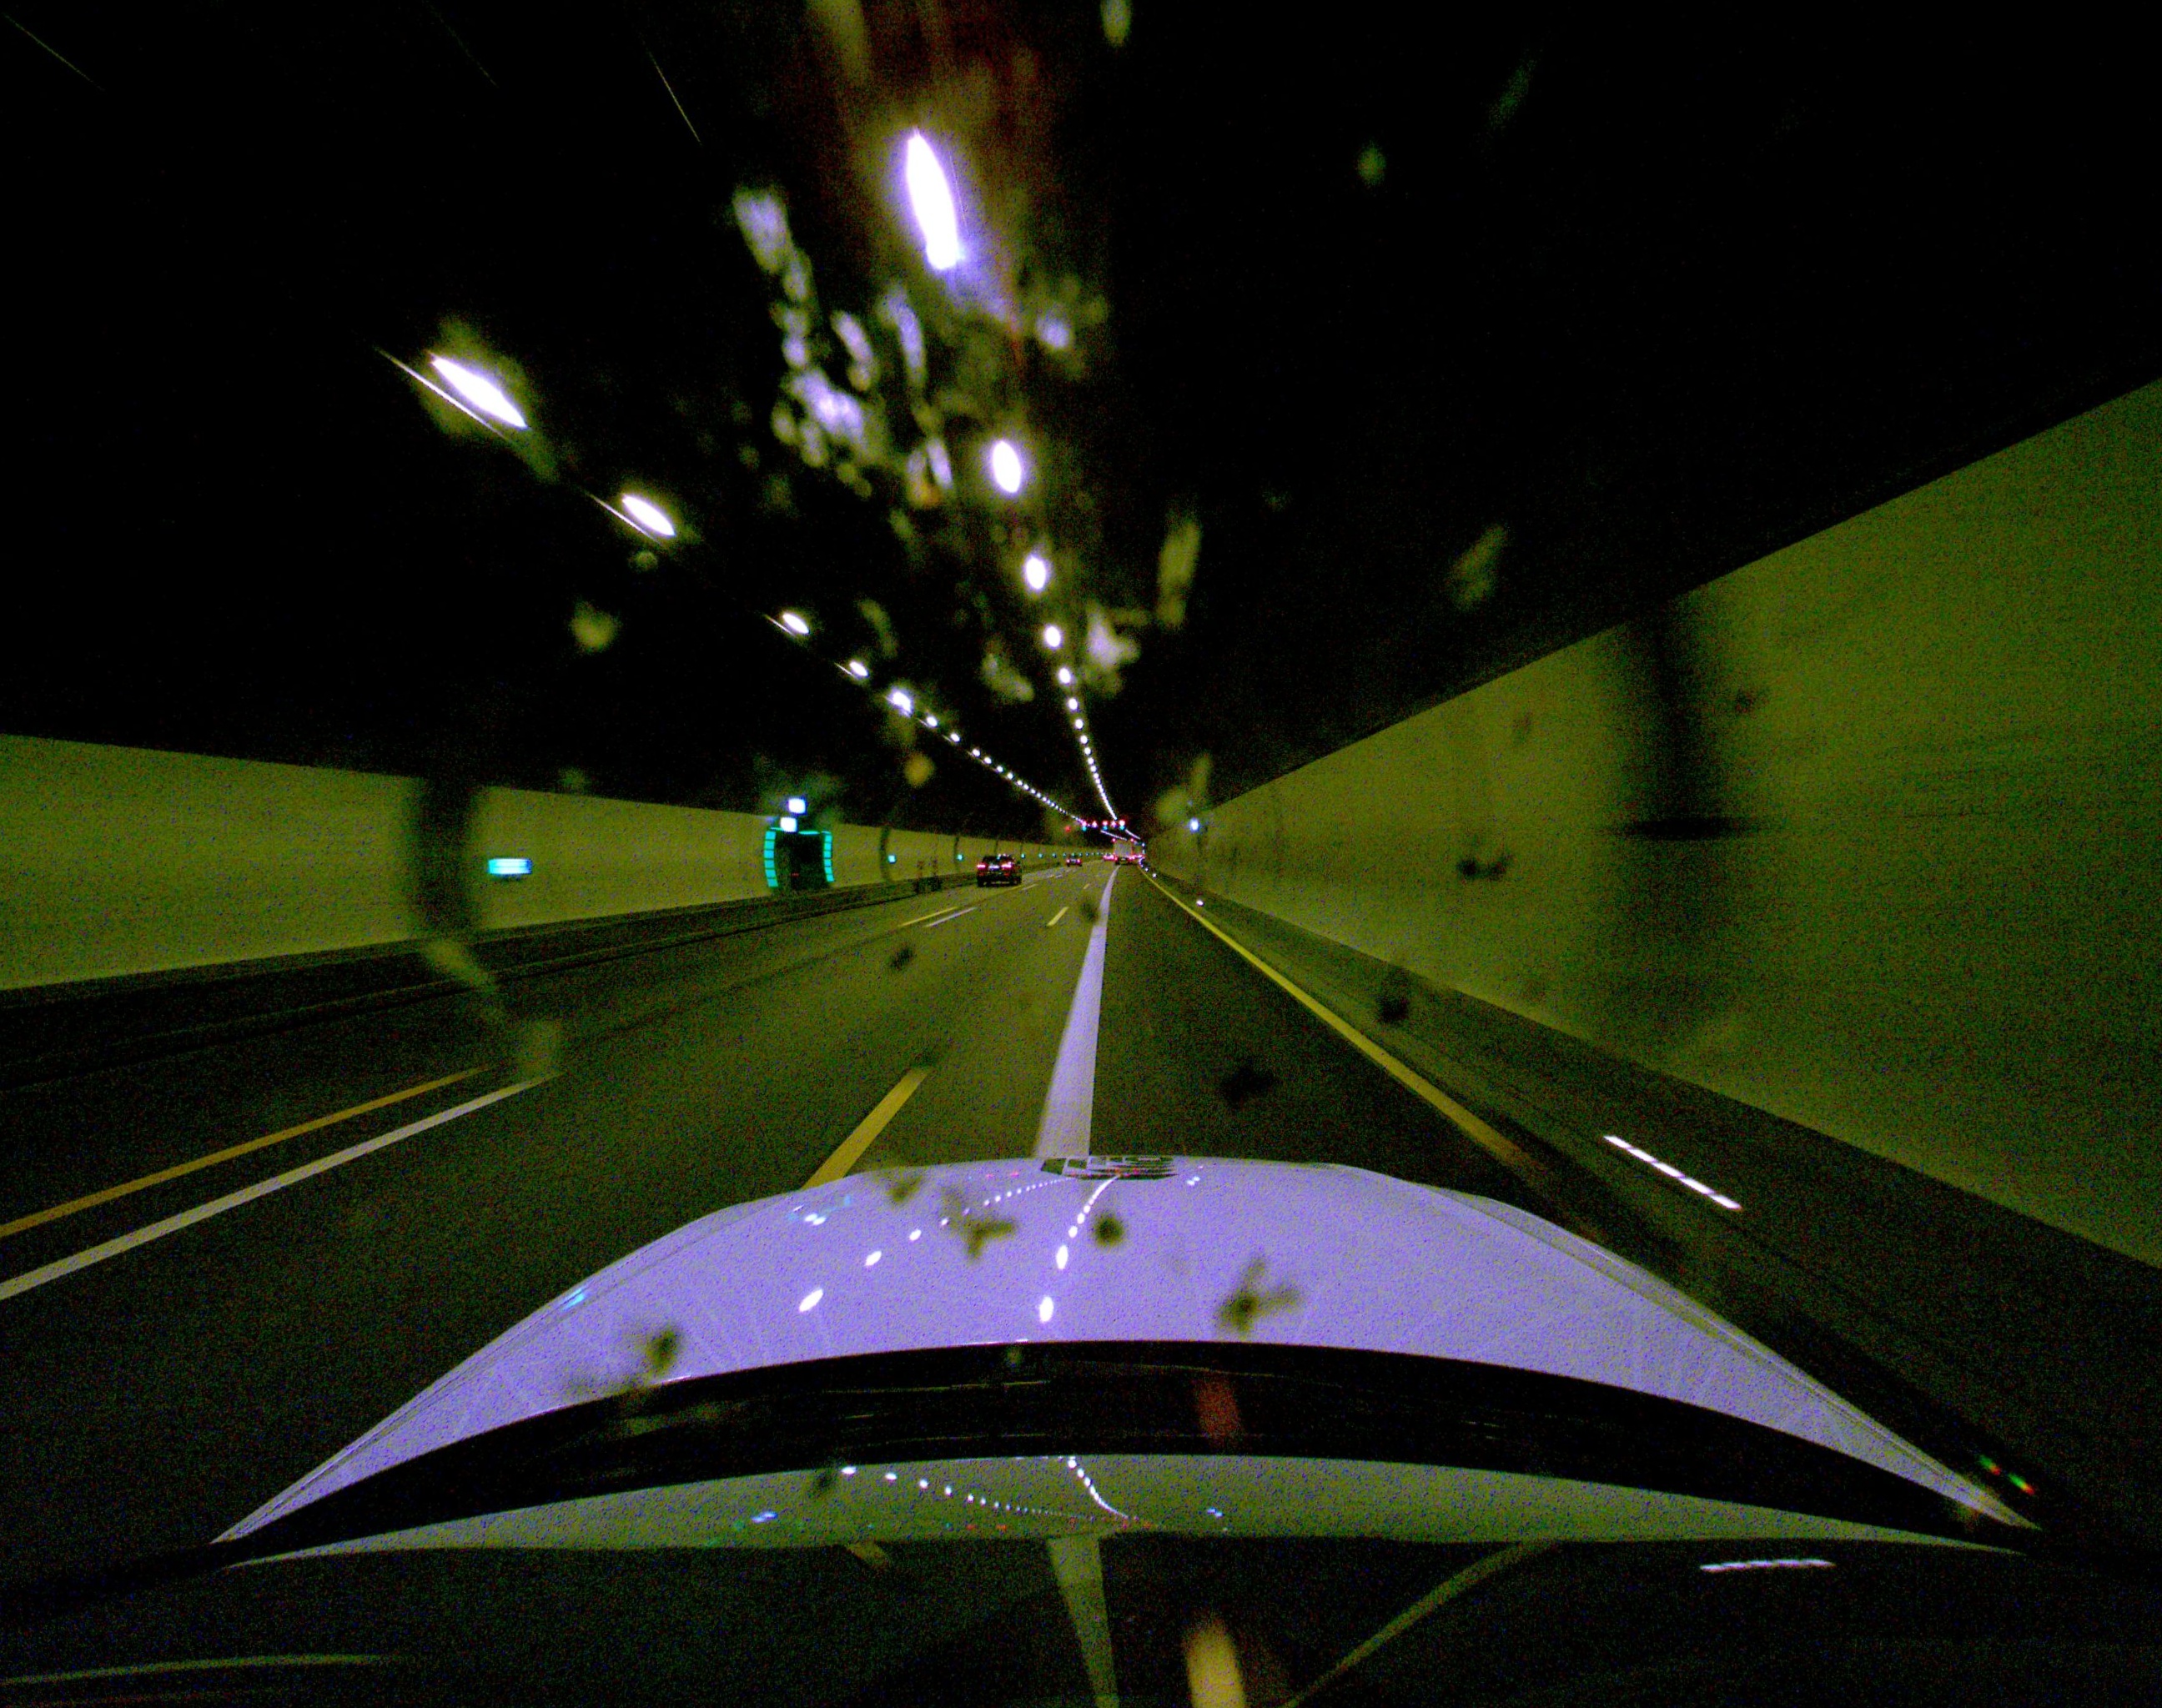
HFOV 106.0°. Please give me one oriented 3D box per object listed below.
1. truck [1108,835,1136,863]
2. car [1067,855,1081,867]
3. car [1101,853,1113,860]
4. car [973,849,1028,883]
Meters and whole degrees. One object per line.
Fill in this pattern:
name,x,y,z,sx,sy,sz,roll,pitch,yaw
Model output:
truck,5.624,-0.603,113.903,3.579,3.650,10.725,2,0,2
car,-0.817,0.847,97.768,1.684,1.417,3.922,2,0,0
car,5.087,0.505,157.821,1.984,1.413,4.749,2,0,5
car,-4.028,0.598,41.403,1.985,1.540,4.746,2,-1,3
